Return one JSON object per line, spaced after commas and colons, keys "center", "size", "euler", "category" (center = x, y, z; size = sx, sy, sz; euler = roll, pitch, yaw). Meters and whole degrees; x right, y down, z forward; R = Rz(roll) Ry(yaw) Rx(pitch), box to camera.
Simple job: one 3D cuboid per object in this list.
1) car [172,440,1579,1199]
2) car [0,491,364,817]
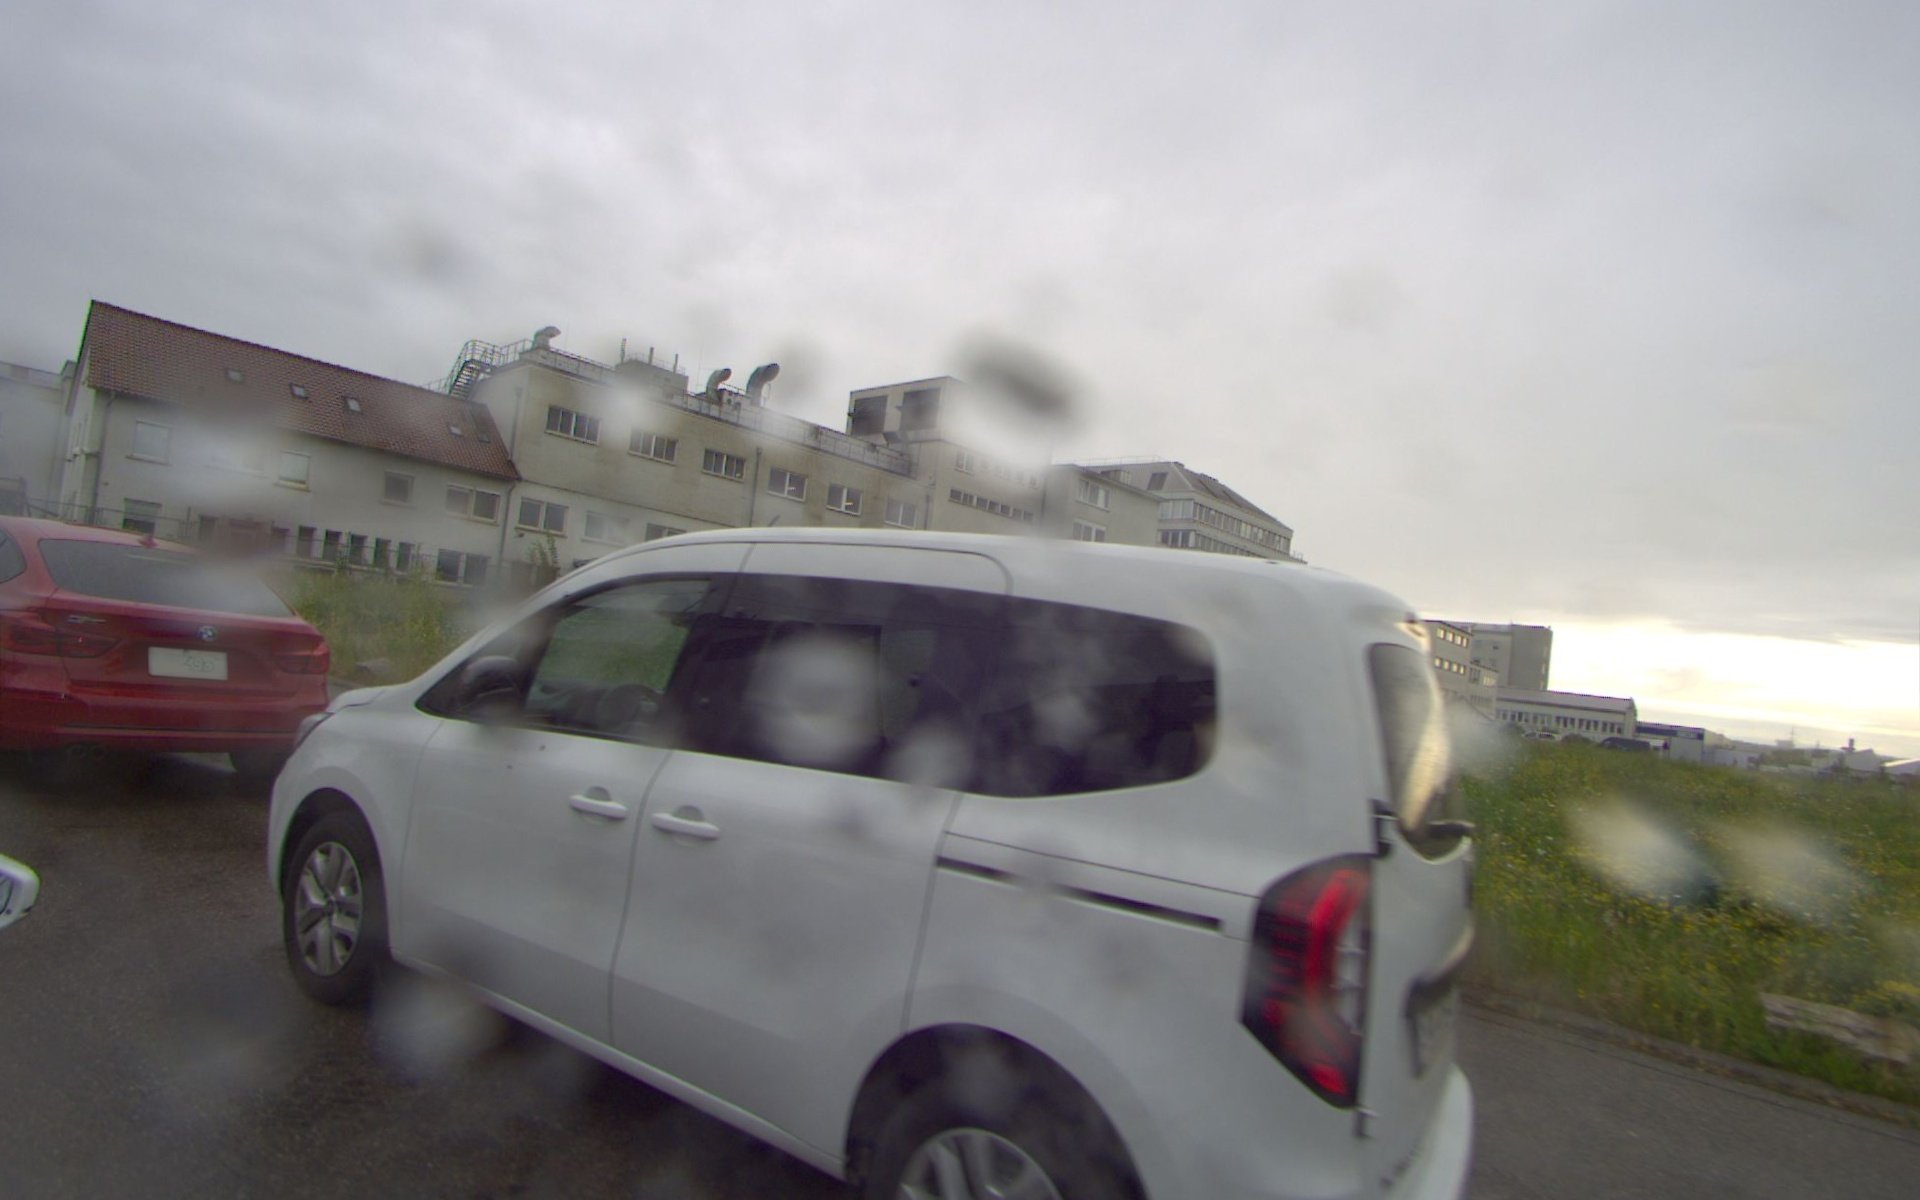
{"center": [-0.596, 0.607, 3.494], "size": [4.499, 1.844, 1.773], "euler": [6, -4, 32], "category": "car"}
{"center": [-6.141, 0.176, 6.850], "size": [4.570, 1.591, 1.646], "euler": [6, -4, 34], "category": "car"}
